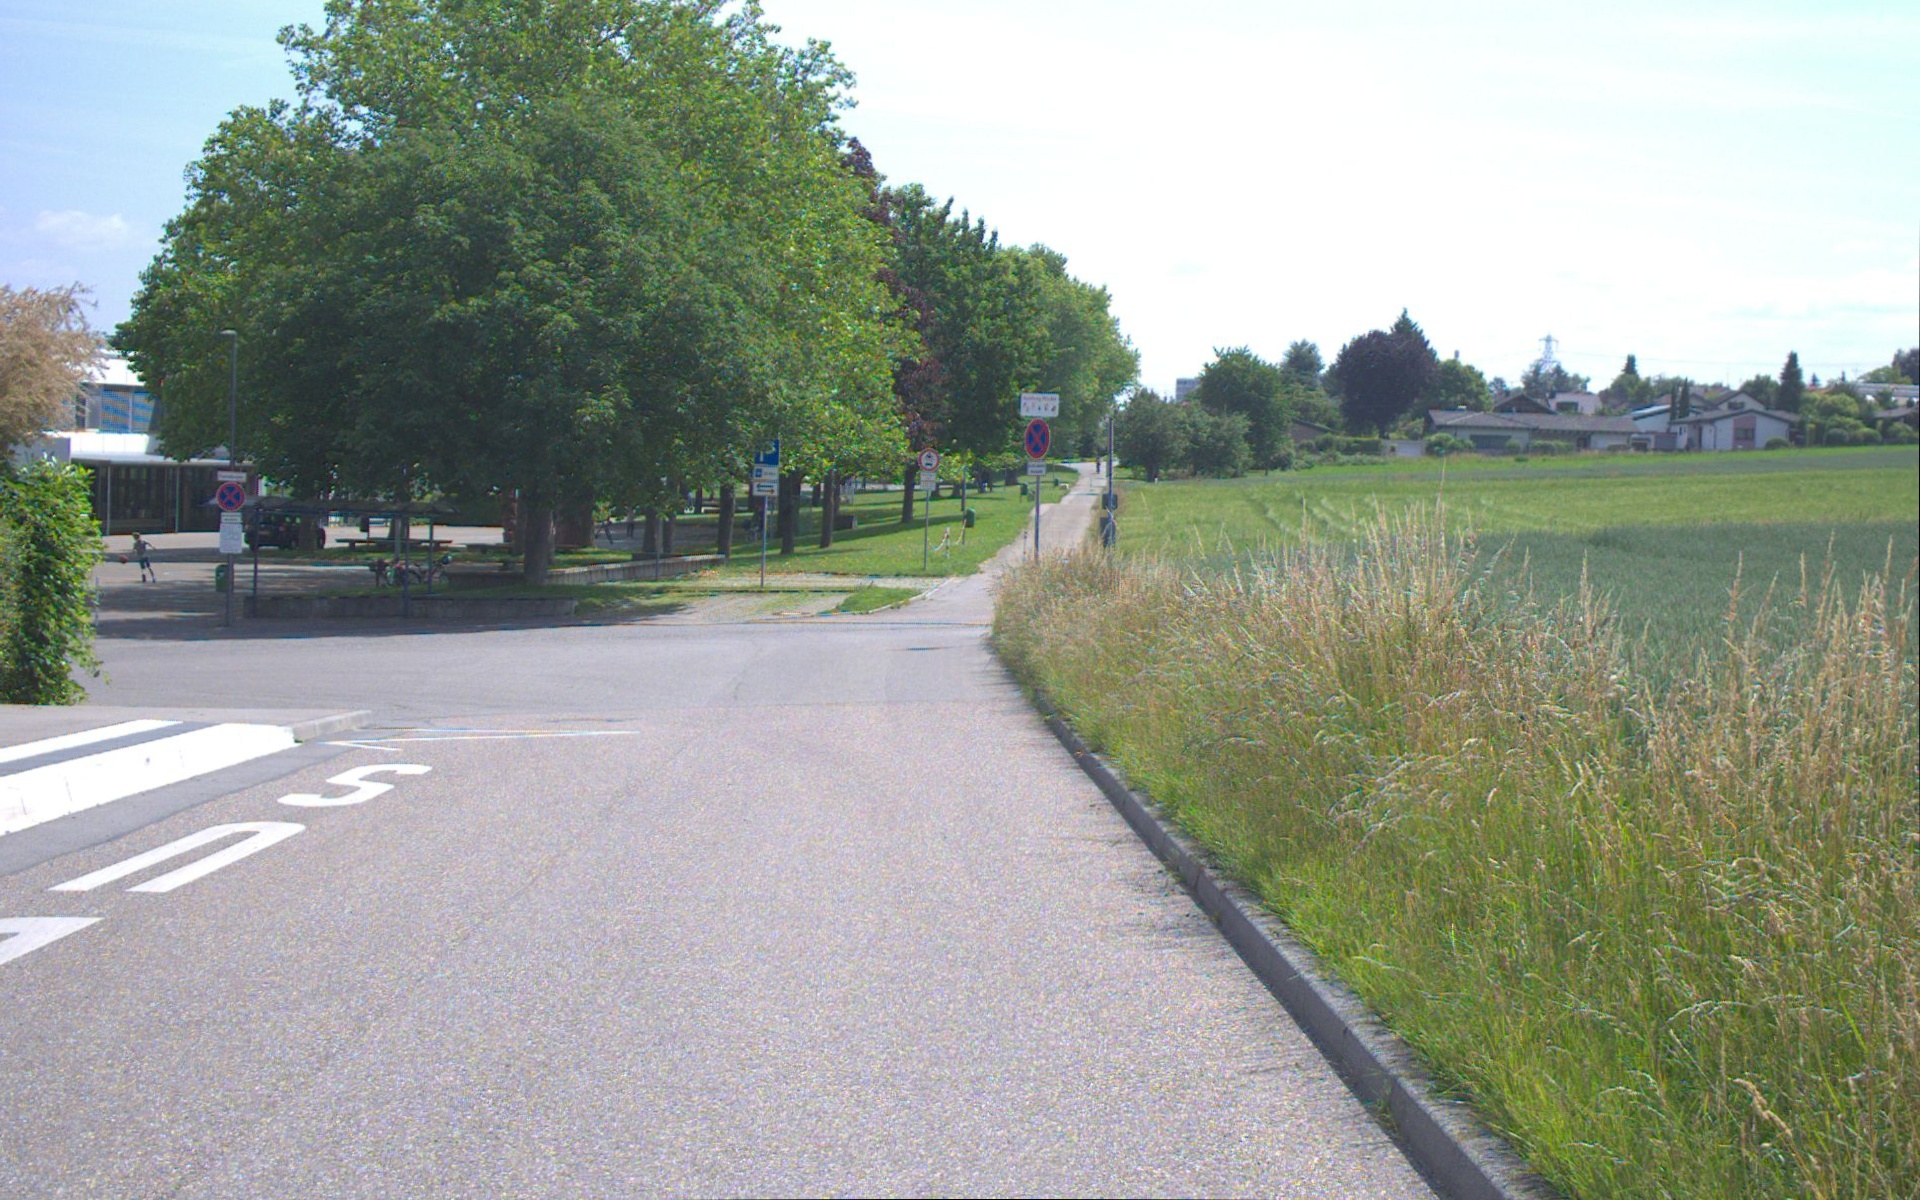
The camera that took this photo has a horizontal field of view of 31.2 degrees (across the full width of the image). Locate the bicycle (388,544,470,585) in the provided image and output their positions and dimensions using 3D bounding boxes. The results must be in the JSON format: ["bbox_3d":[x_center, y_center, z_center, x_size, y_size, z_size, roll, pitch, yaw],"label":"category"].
[{"bbox_3d":[-13.934,-0.927,90.249,2.062,1.035,0.572,-1,2,-5],"label":"bicycle"}]

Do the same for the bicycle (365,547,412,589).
[{"bbox_3d":[-14.668,-0.819,88.237,0.595,1.035,1.892,0,2,10],"label":"bicycle"}]

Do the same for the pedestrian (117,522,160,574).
[{"bbox_3d":[-22.500,-1.424,94.136,1.065,1.418,0.920,0,1,-17],"label":"pedestrian"}]

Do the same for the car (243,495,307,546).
[{"bbox_3d":[-25.357,-2.951,127.320,1.691,1.828,3.411,0,2,0],"label":"car"}]
